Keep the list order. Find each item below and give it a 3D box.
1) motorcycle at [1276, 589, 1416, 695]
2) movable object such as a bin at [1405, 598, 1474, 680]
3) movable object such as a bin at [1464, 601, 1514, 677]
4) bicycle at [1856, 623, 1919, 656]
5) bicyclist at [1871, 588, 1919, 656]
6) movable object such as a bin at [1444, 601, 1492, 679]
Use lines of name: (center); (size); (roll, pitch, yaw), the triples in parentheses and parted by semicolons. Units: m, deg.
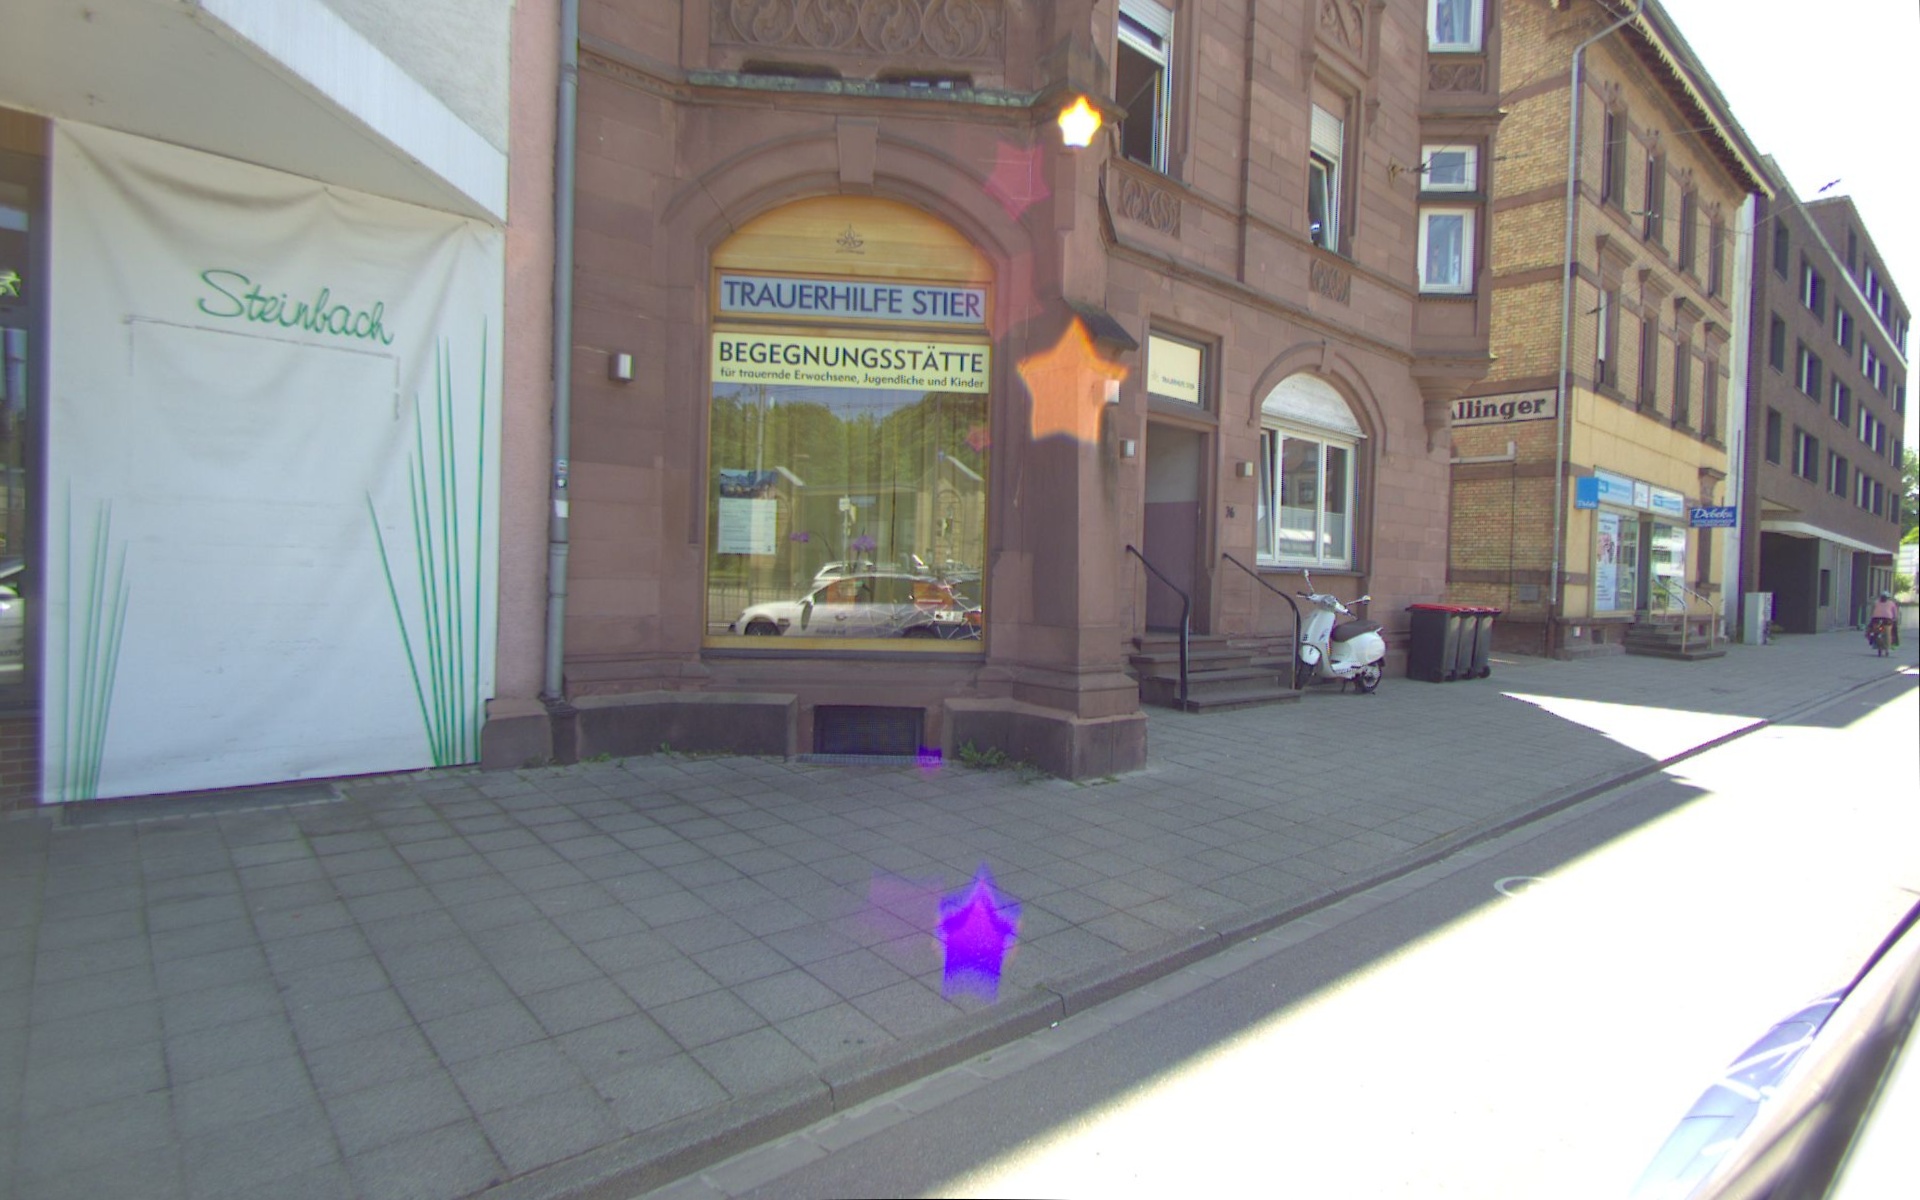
motorcycle: (4.536, 0.467, 11.853); (1.843, 1.163, 0.529); (1, 1, -33)
movable object such as a bin: (6.673, 0.533, 14.096); (0.549, 1.061, 0.649); (1, 4, -42)
movable object such as a bin: (7.703, 0.552, 14.734); (0.646, 1.061, 0.376); (0, 4, -42)
bicycle: (24.493, 1.020, 26.552); (1.868, 0.807, 0.692); (1, 1, -22)
bicyclist: (24.626, 0.560, 26.585); (0.909, 1.744, 0.673); (1, 1, -22)
movable object such as a bin: (7.203, 0.559, 14.356); (0.549, 1.061, 0.376); (0, 4, -42)
